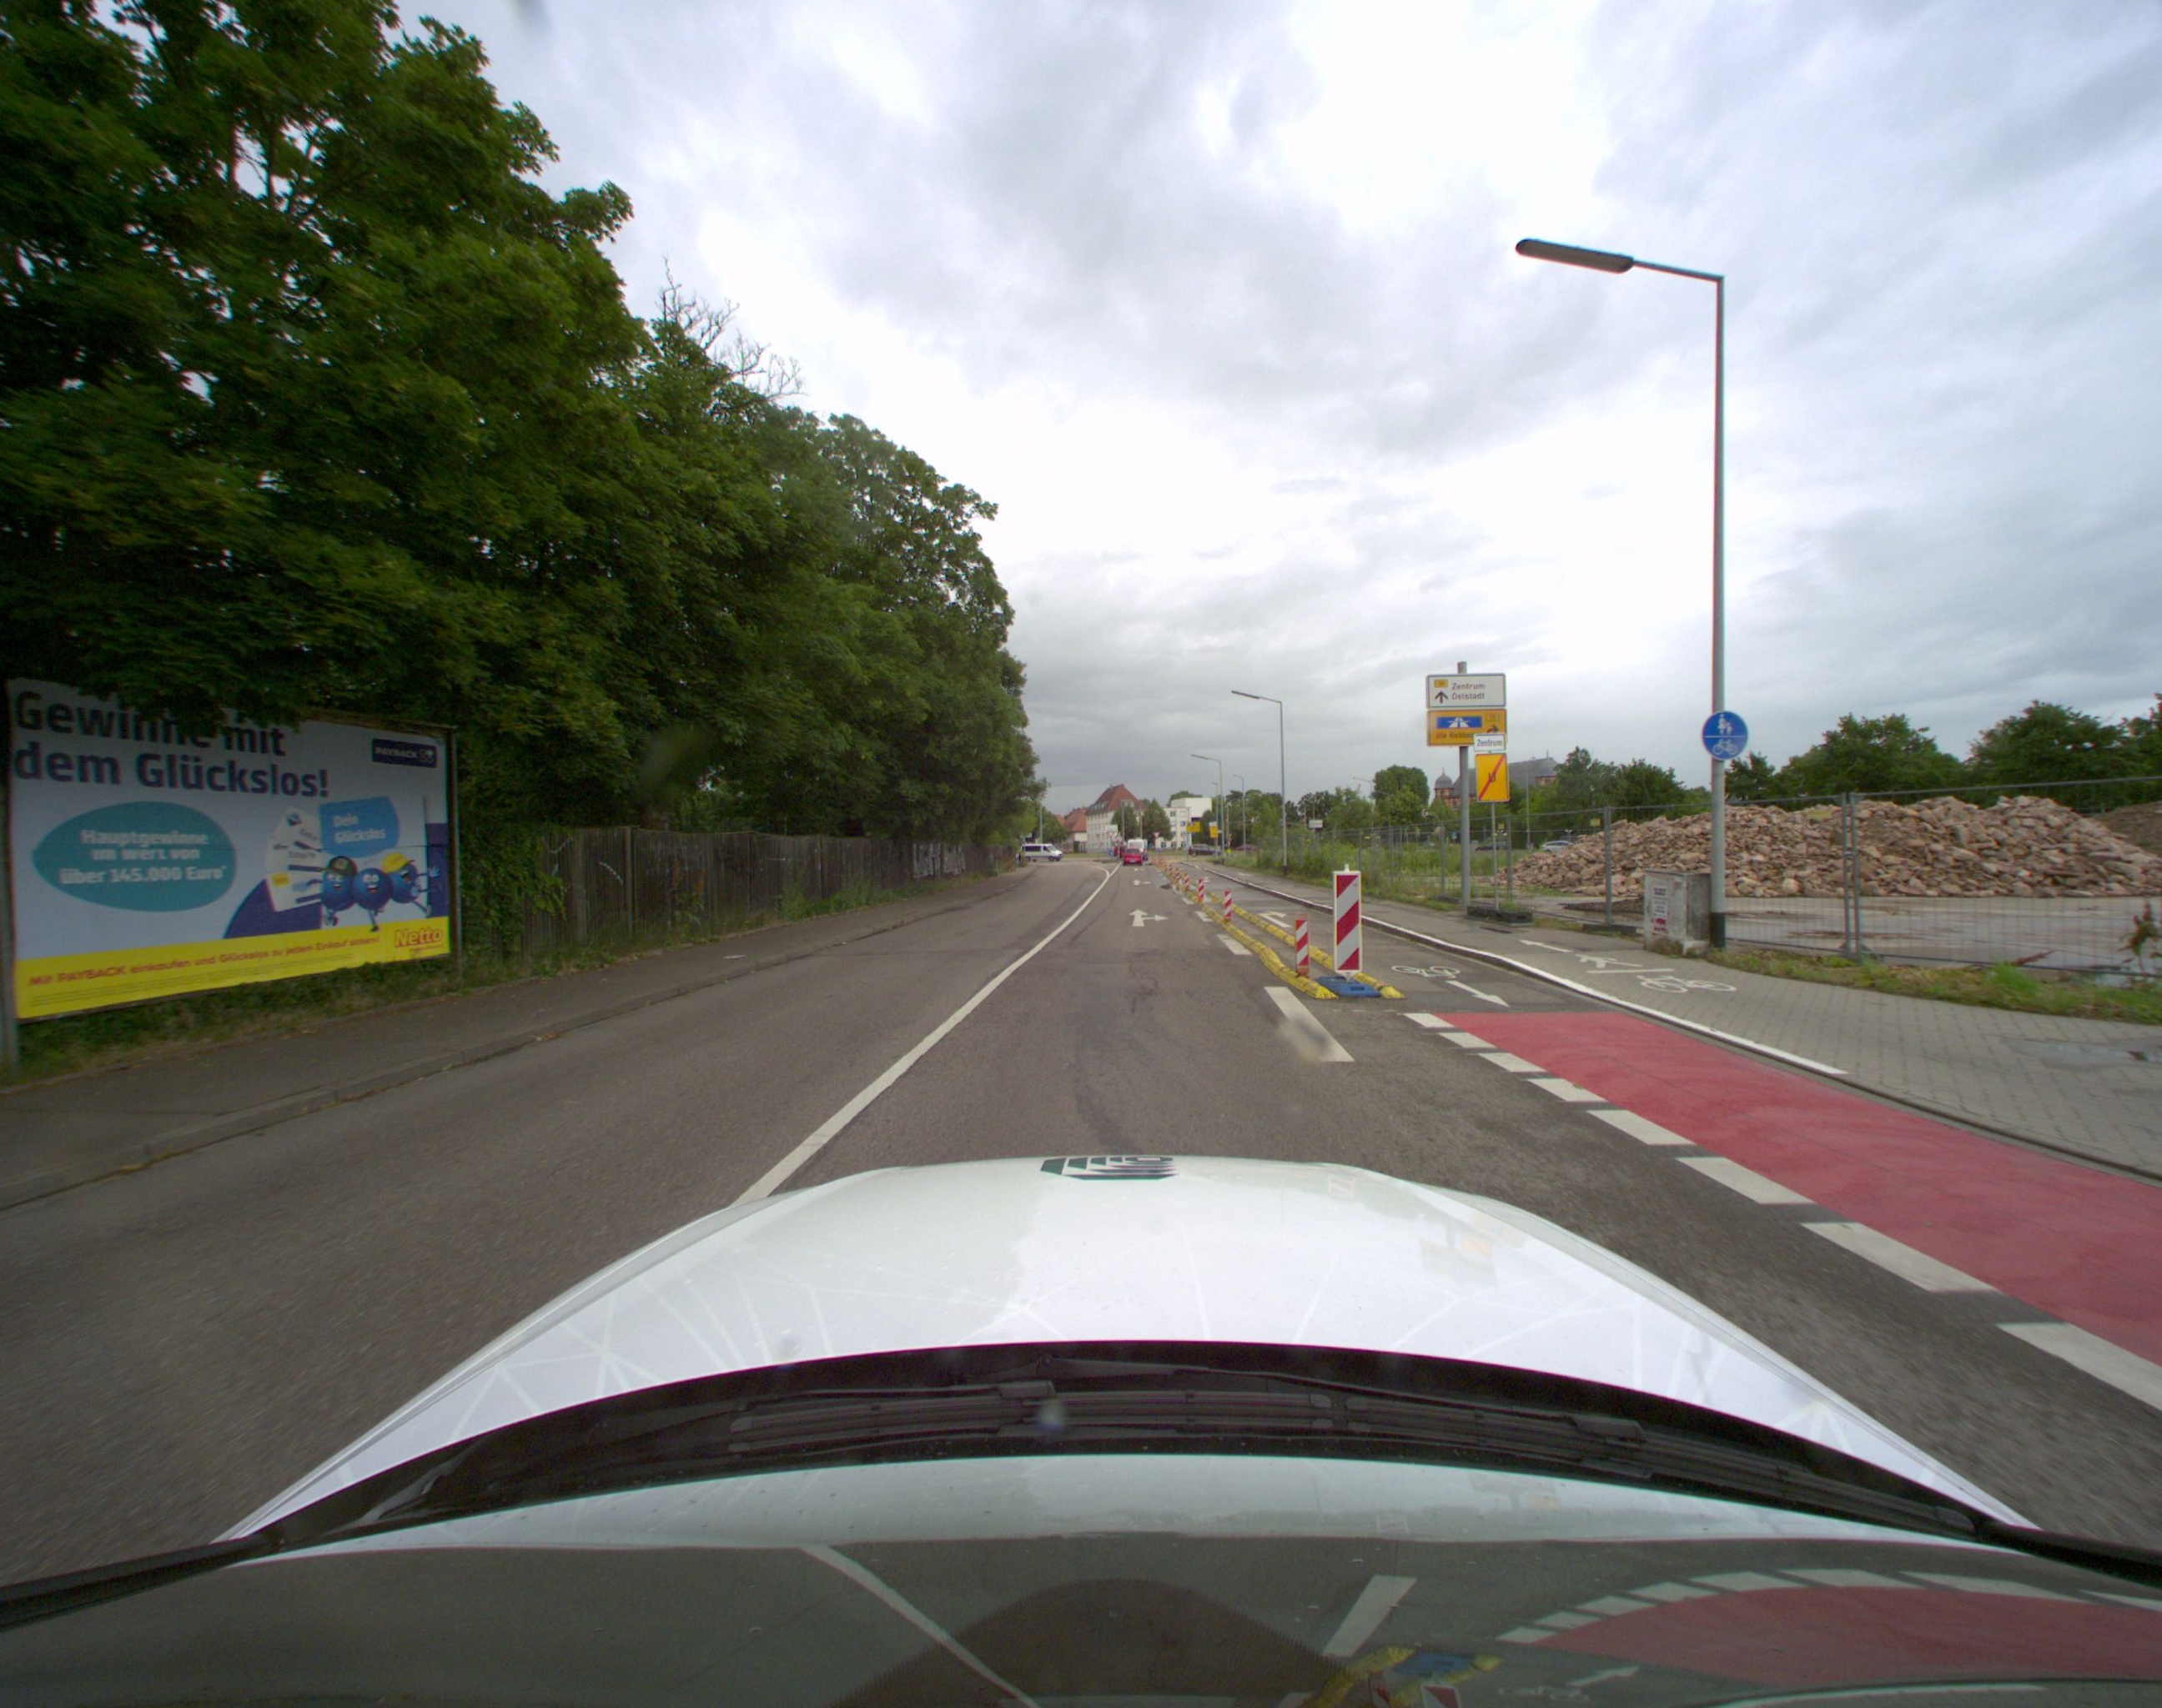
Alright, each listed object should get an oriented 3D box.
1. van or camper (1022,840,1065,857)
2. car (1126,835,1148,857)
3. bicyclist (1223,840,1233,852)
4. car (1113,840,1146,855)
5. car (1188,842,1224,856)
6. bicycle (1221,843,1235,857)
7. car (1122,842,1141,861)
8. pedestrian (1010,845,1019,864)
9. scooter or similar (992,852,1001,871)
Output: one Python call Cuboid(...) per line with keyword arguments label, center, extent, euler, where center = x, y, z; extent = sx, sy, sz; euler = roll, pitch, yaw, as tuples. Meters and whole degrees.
Cuboid(label="van or camper", center=(-5.012, -0.675, 108.739), extent=(5.484, 2.115, 2.012), euler=(-1, 0, 24))
Cuboid(label="car", center=(6.678, -0.972, 96.554), extent=(2.182, 2.540, 4.976), euler=(0, 1, 10))
Cuboid(label="bicyclist", center=(16.403, -0.893, 90.919), extent=(1.056, 1.401, 0.616), euler=(-1, 0, 6))
Cuboid(label="car", center=(6.608, -0.896, 110.667), extent=(4.164, 1.917, 2.124), euler=(-1, 0, 14))
Cuboid(label="car", center=(17.000, -0.703, 110.897), extent=(2.128, 1.795, 4.552), euler=(-2, 1, -44))
Cuboid(label="bicycle", center=(16.553, -0.444, 91.823), extent=(1.469, 1.612, 0.607), euler=(-1, 0, 6))
Cuboid(label="car", center=(4.533, -0.225, 73.184), extent=(1.666, 1.640, 3.631), euler=(0, 1, 4))
Cuboid(label="pedestrian", center=(-5.442, 0.020, 66.834), extent=(0.610, 1.529, 0.724), euler=(-1, 0, -1))
Cuboid(label="scooter or similar", center=(-5.237, 0.476, 50.663), extent=(0.421, 1.170, 1.303), euler=(-1, 0, -1))
